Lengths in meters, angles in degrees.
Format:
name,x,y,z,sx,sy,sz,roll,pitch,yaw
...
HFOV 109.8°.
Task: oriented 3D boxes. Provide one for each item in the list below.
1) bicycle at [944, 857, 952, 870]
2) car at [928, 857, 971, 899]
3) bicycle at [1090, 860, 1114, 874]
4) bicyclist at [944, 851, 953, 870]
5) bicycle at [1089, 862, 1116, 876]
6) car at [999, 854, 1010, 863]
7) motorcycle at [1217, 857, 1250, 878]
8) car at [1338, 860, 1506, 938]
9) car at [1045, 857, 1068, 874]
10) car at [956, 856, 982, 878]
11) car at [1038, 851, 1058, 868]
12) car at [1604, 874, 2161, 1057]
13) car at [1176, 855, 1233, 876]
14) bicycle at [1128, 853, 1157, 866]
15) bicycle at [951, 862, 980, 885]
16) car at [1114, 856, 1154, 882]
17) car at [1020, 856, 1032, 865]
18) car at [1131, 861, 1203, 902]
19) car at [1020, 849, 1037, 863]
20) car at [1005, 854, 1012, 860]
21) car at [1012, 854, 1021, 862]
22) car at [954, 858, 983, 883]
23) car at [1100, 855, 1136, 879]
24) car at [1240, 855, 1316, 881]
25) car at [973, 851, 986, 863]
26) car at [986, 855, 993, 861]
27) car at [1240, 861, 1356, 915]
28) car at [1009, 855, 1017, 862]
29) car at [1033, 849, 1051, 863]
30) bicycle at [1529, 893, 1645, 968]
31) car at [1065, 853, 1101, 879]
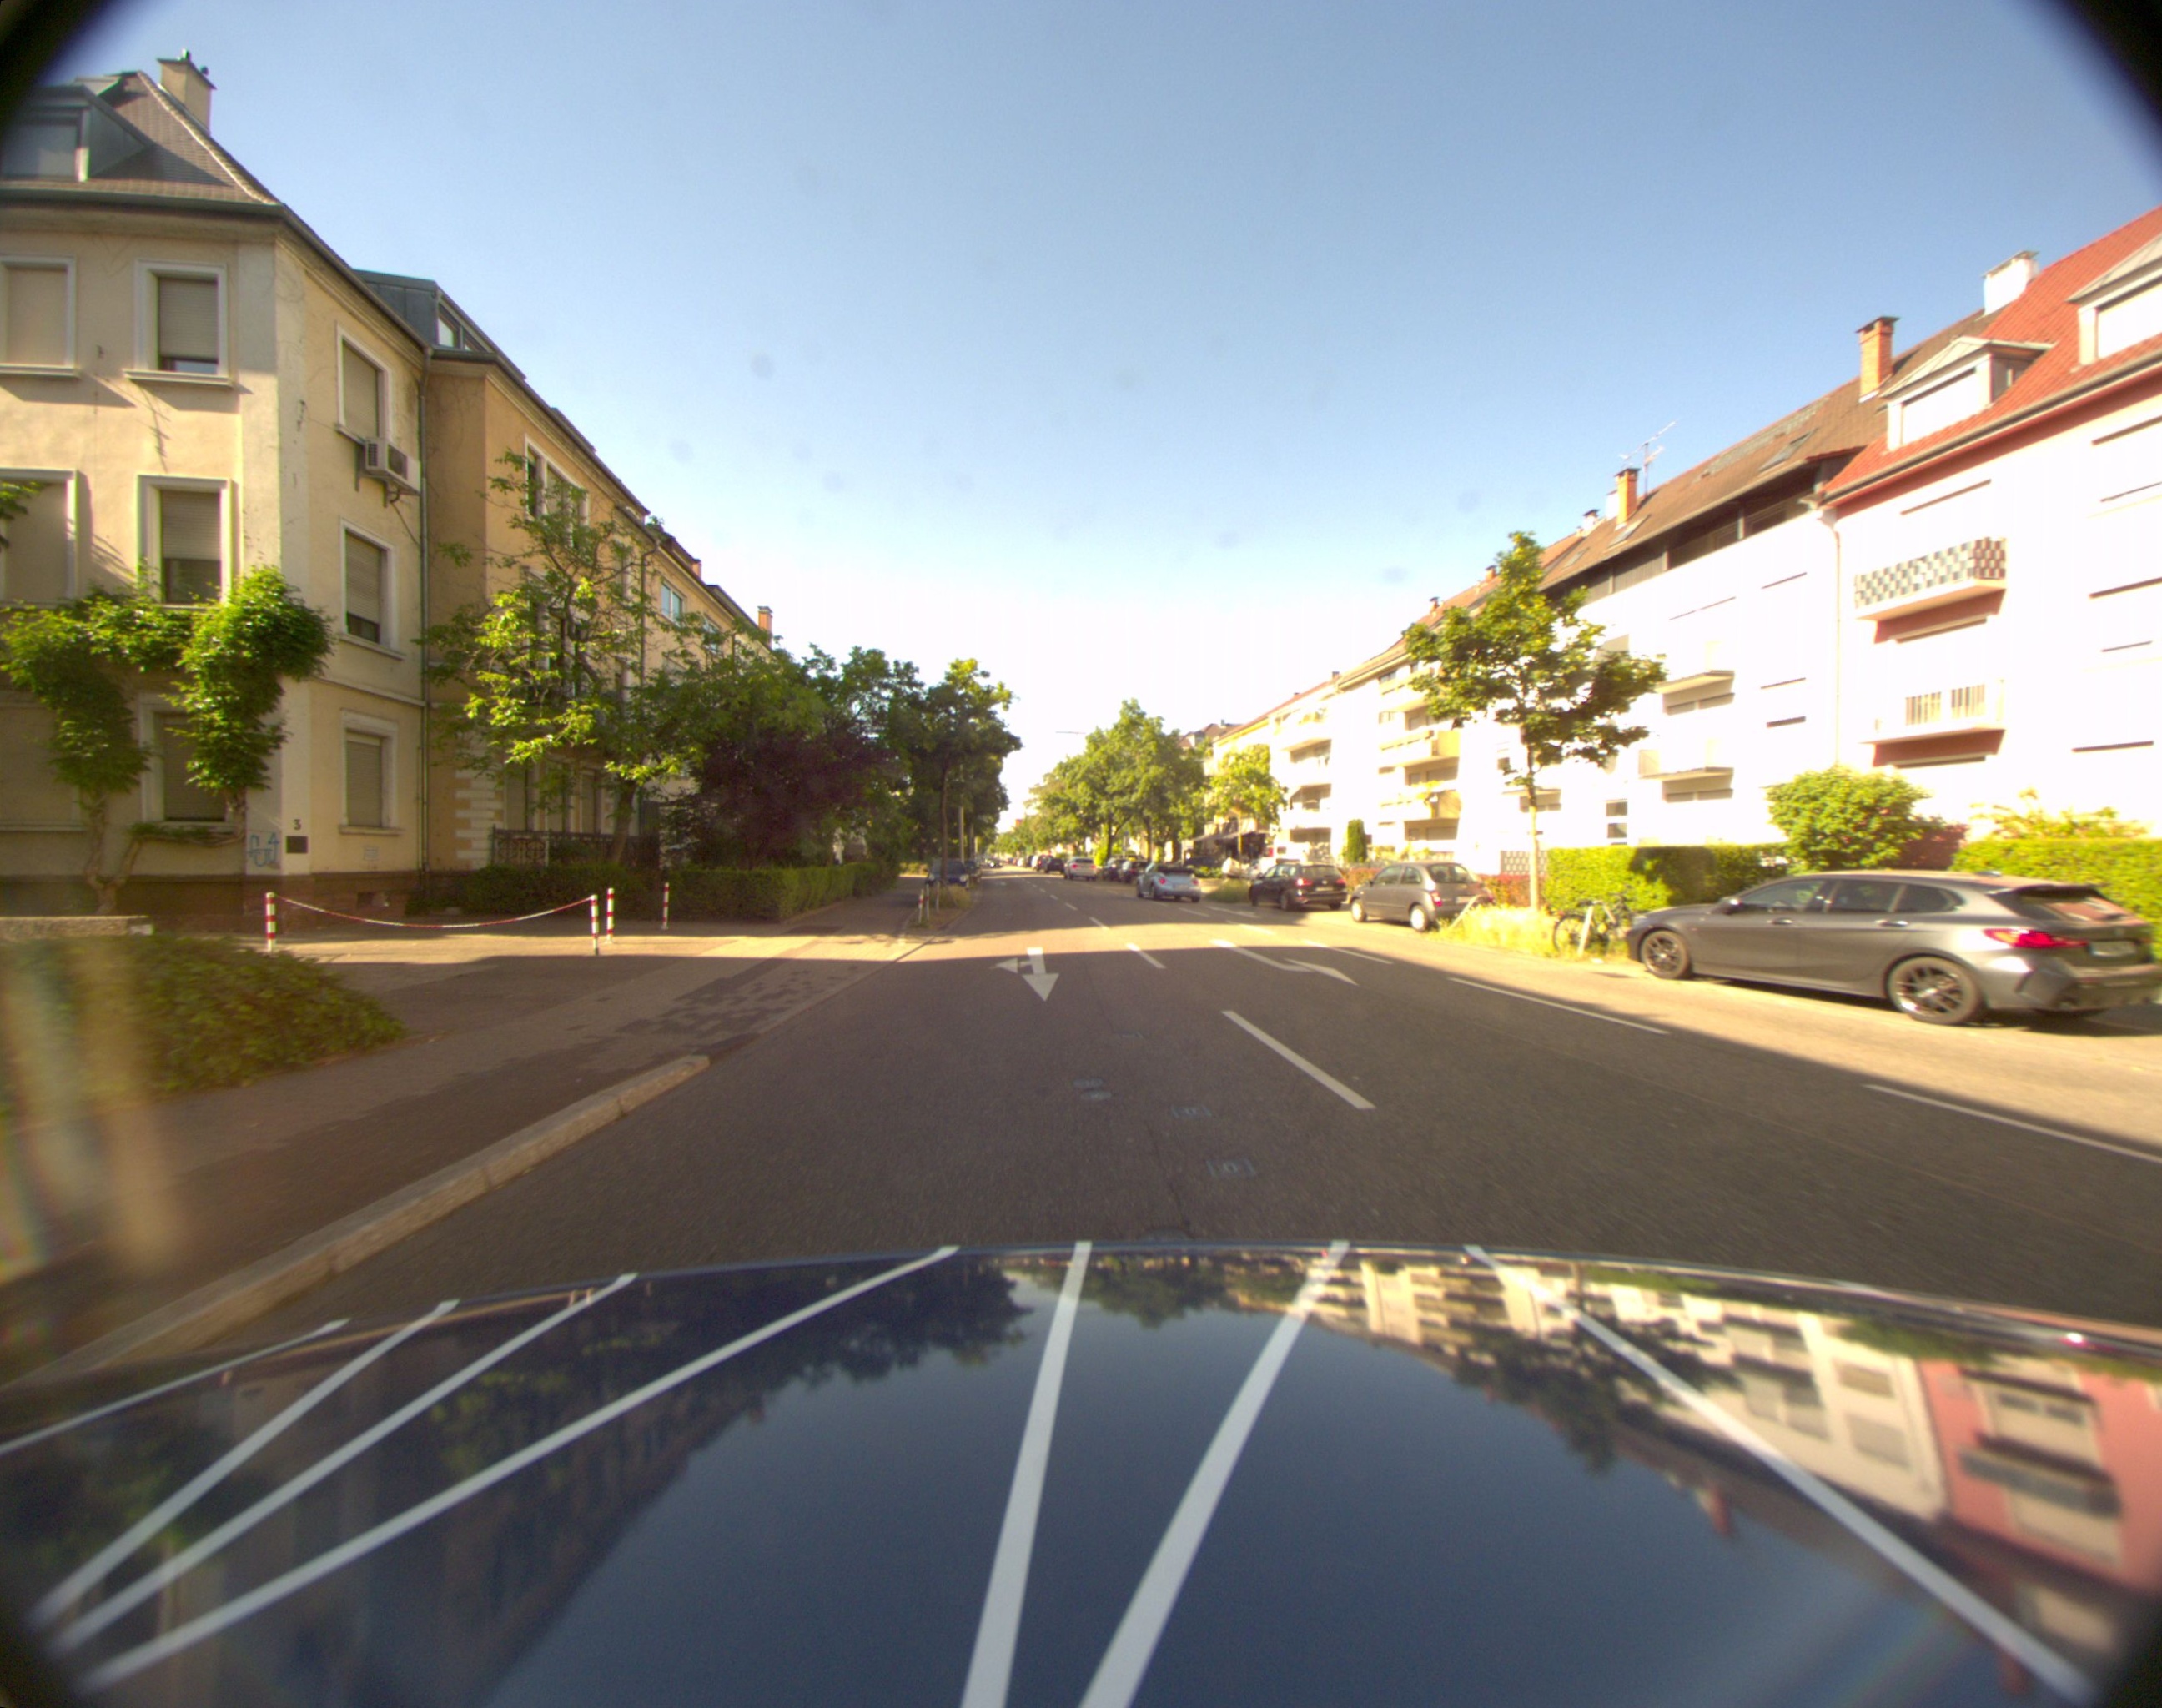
name,x,y,z,sx,sy,sz,roll,pitch,yaw
bicycle,-12.601,0.890,72.010,0.700,1.239,1.820,1,0,-7
car,-5.248,0.927,30.487,1.564,1.506,3.651,2,0,-9
bicycle,1.775,1.075,64.228,1.932,1.128,0.463,-1,0,21
bicyclist,-12.569,0.611,71.938,0.726,1.783,1.015,1,0,-7
bicycle,1.728,1.180,61.132,2.025,1.085,0.463,-1,0,16
car,-11.626,0.715,115.471,1.655,1.348,4.301,0,0,-7
motorcycle,10.844,0.961,54.123,2.155,1.477,0.781,-1,0,2
car,7.621,0.930,17.371,1.681,1.516,3.655,-2,0,-11
car,-2.461,1.135,75.415,1.724,1.556,4.339,3,0,-8
car,-7.907,0.863,53.653,1.720,1.480,4.230,0,0,-9
car,-3.854,0.594,87.938,1.809,1.899,4.708,2,0,-7
car,8.531,0.980,8.563,1.773,1.400,4.362,-1,0,-11
car,9.166,0.870,56.589,3.996,1.452,1.733,-1,0,2
bicycle,6.184,0.528,76.823,3.181,1.255,0.949,-1,3,-41
bicycle,-6.428,1.074,42.439,0.470,1.230,1.671,1,0,44
car,3.367,0.944,49.174,1.727,1.527,4.677,-1,0,-7
car,-9.466,1.039,130.331,1.739,1.404,4.189,2,0,-7
car,3.124,0.986,28.346,1.743,1.373,3.934,1,0,-8
car,-7.742,0.348,111.789,2.023,1.940,5.174,2,0,-8
car,-18.497,0.812,194.630,1.586,1.443,3.741,0,0,-9
car,-12.744,0.739,149.773,1.586,1.443,3.741,0,0,-10
car,-6.763,0.961,46.030,1.617,1.375,3.973,1,0,-6
car,2.606,0.902,54.425,1.728,1.587,4.132,-1,0,-9
car,11.895,0.834,46.051,4.000,1.478,1.880,-1,0,-8
car,-14.339,0.374,107.249,1.775,1.649,4.337,1,0,-9
car,-25.355,1.075,210.269,1.824,1.541,4.301,0,0,-7
car,6.660,0.990,23.883,1.791,1.484,4.490,-1,0,-8
car,-15.942,1.021,176.832,1.586,1.443,3.741,0,0,-9
car,-5.076,0.223,98.356,1.821,1.732,4.489,2,0,-8
bicycle,7.993,1.190,12.018,1.548,1.127,0.548,1,0,-8
car,0.067,0.802,53.323,1.812,1.638,4.669,2,0,-8
